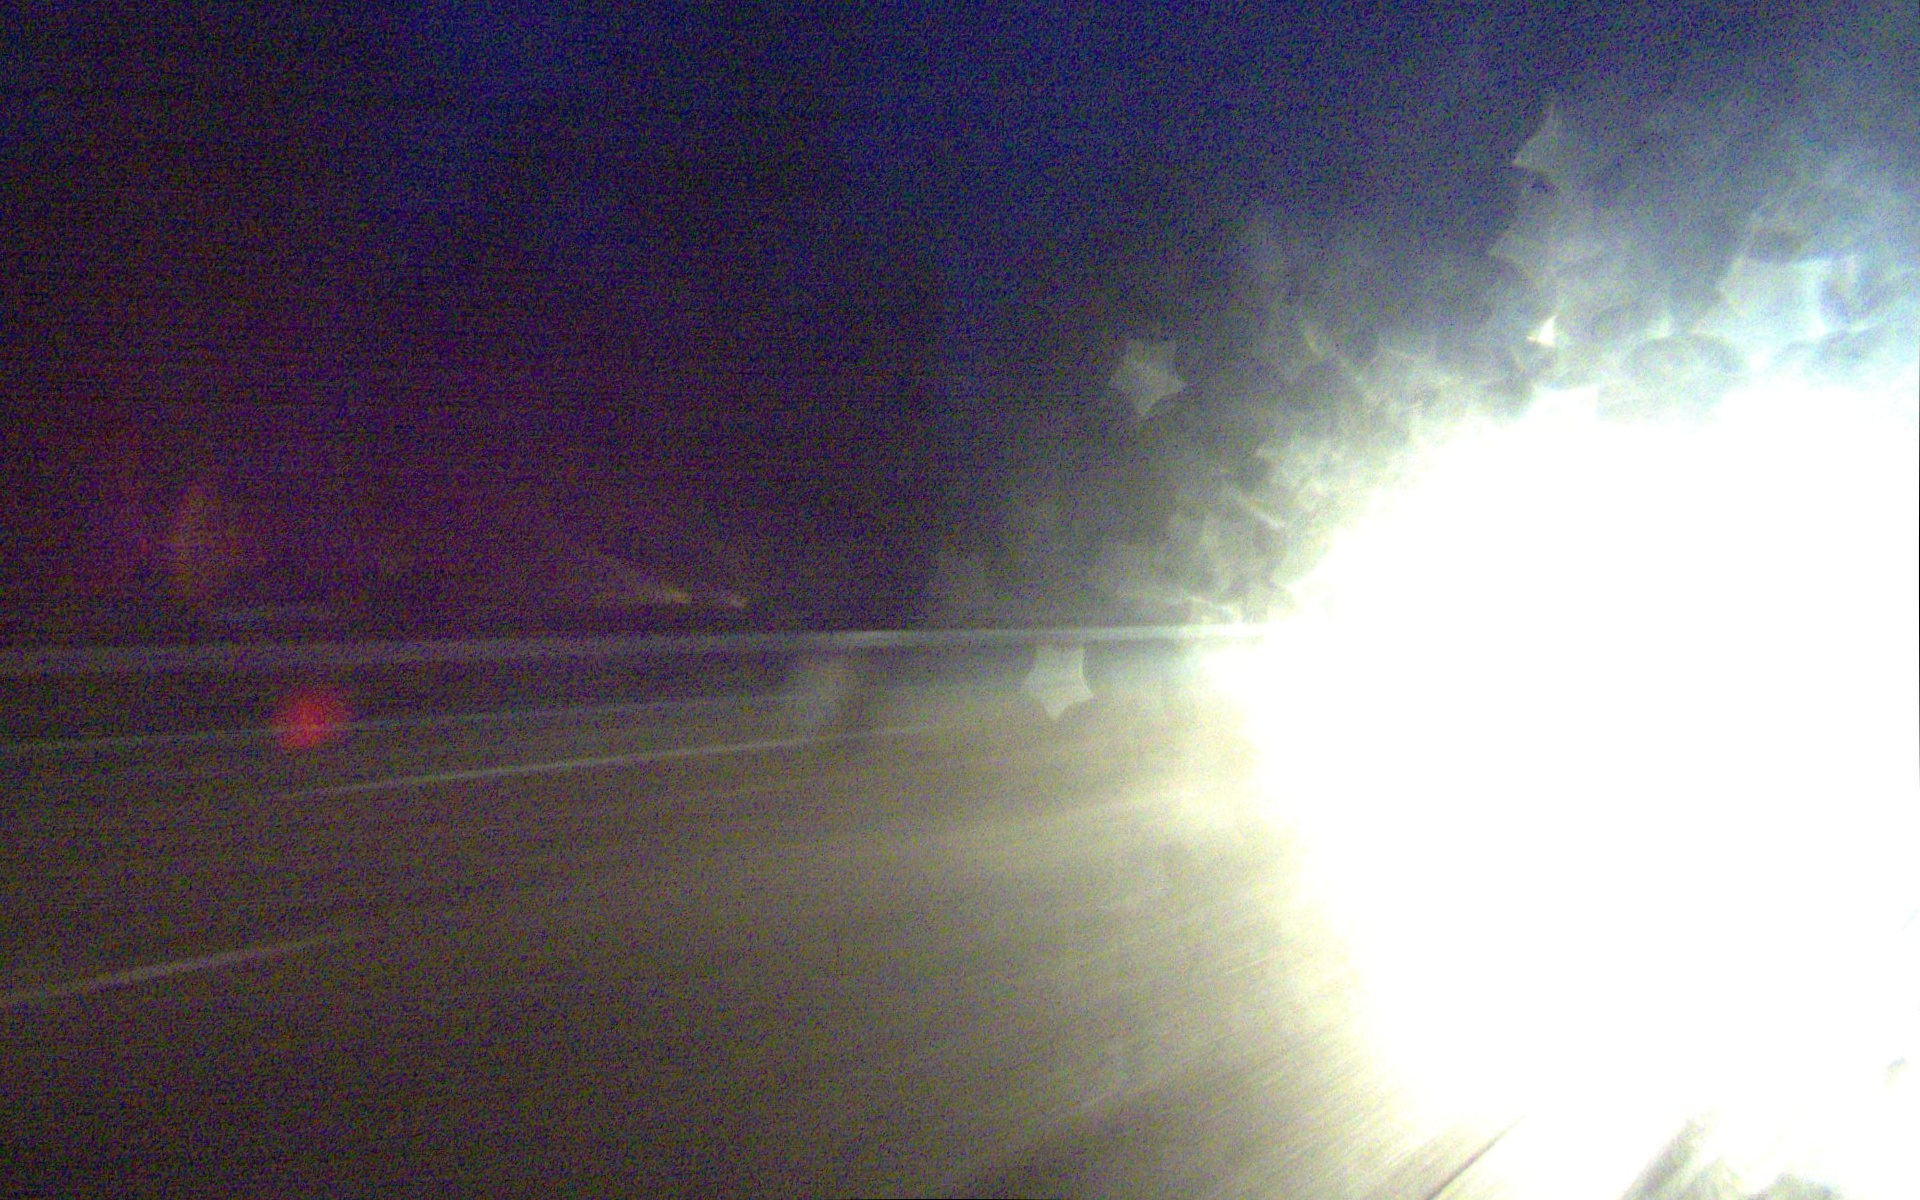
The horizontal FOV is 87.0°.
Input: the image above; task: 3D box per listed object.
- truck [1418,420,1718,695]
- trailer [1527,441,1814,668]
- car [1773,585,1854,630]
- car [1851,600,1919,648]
[{"bbox_3d":[11.816,-0.672,19.345,7.317,4.321,2.808,0,0,-41],"label":"truck"},{"bbox_3d":[17.243,-0.849,23.984,11.884,4.265,2.808,0,0,-41],"label":"trailer"},{"bbox_3d":[42.196,0.345,49.997,5.309,1.998,2.052,0,3,-39],"label":"car"},{"bbox_3d":[29.861,0.737,32.286,3.724,1.430,1.615,0,0,-40],"label":"car"}]
